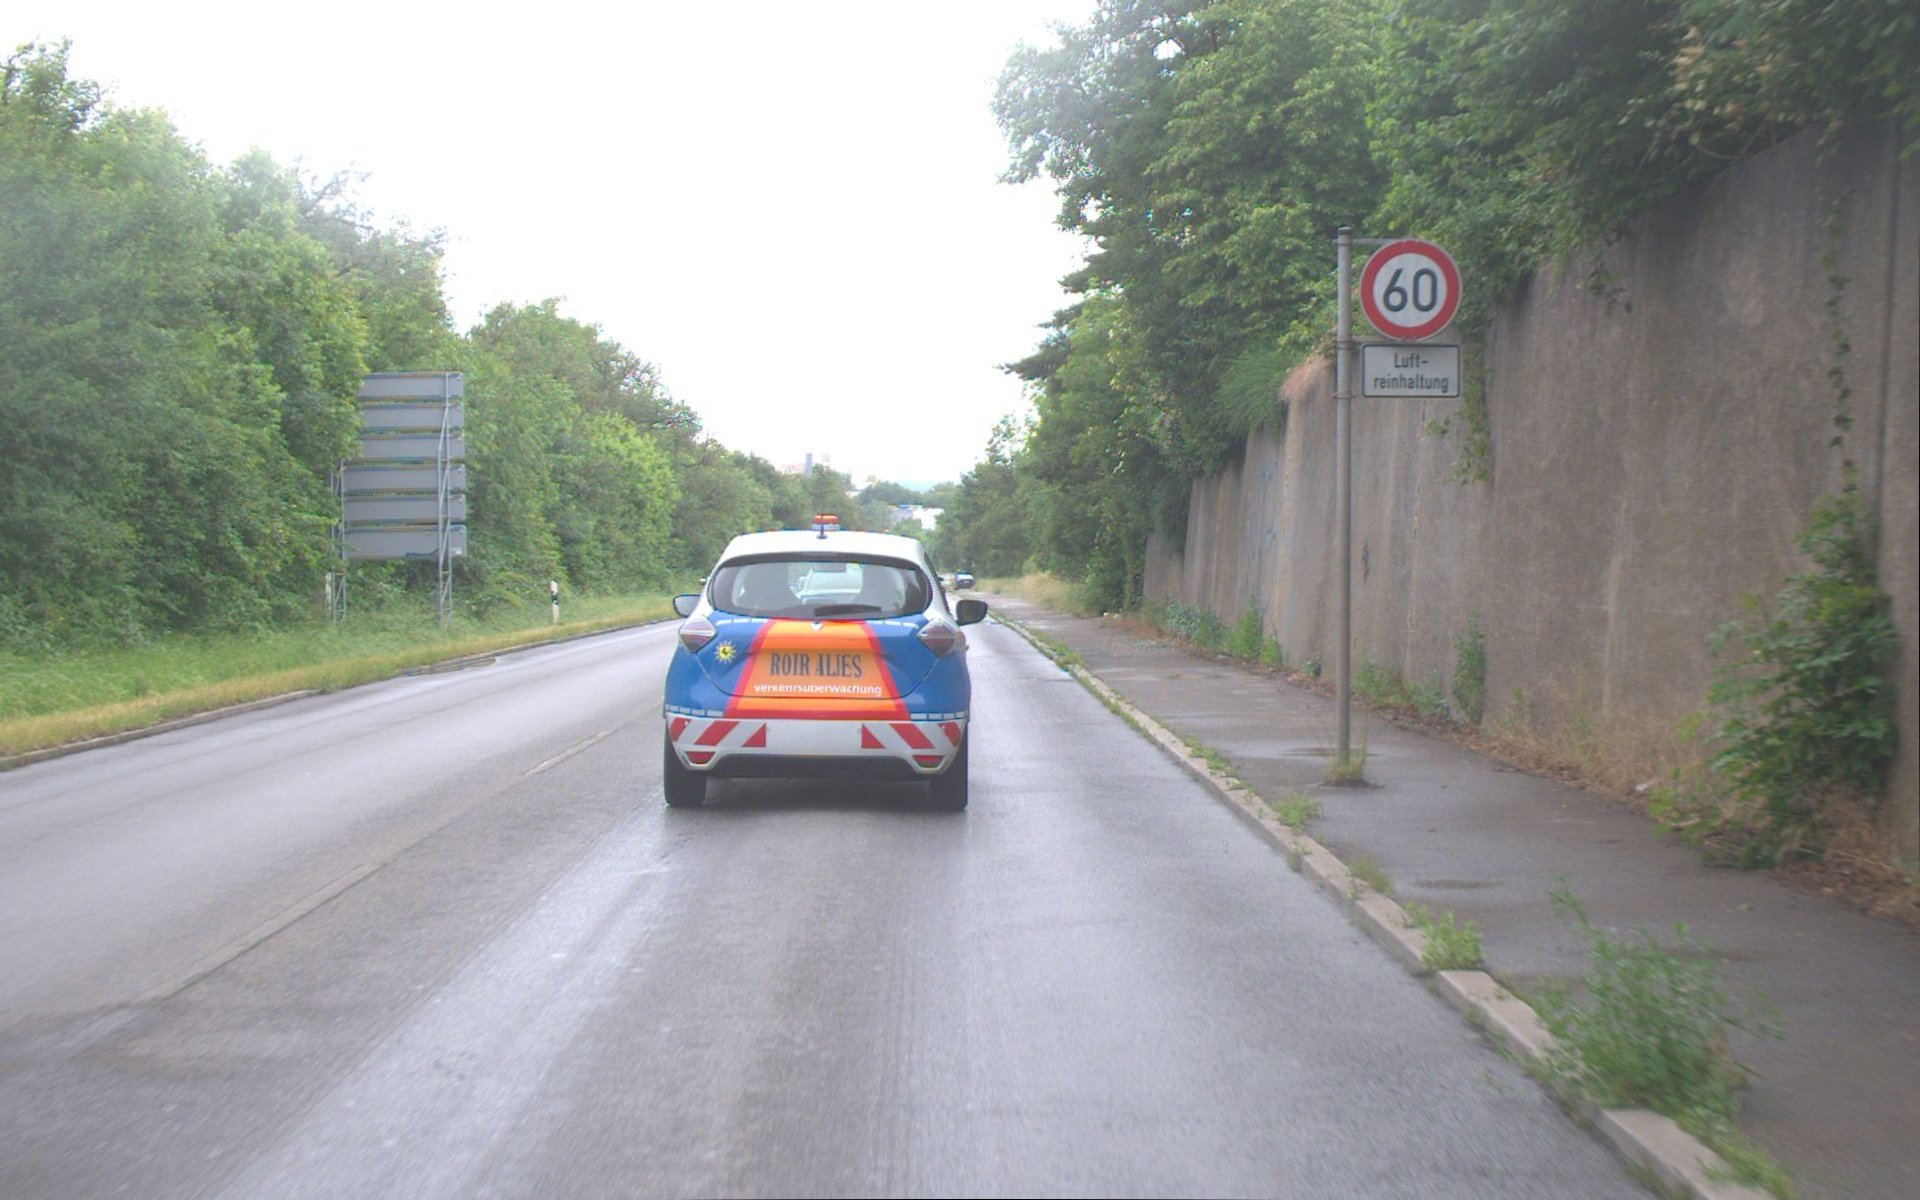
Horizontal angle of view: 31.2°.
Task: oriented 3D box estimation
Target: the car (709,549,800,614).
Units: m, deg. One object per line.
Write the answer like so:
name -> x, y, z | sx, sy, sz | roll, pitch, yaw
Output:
car -> -4.727, -0.452, 79.552 | 1.825, 1.415, 4.320 | -1, 1, 0

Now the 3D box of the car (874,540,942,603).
car -> -1.448, -0.800, 95.013 | 1.772, 1.619, 4.000 | -2, 1, -2

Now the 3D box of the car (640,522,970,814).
car -> -0.855, 0.325, 20.360 | 1.752, 1.550, 3.793 | 1, 1, -1

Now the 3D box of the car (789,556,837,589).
car -> -6.054, -1.143, 141.725 | 1.891, 1.350, 4.382 | 0, 1, -2

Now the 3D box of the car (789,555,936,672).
car -> -1.113, 0.143, 40.420 | 1.598, 1.282, 3.476 | -1, 0, 0
